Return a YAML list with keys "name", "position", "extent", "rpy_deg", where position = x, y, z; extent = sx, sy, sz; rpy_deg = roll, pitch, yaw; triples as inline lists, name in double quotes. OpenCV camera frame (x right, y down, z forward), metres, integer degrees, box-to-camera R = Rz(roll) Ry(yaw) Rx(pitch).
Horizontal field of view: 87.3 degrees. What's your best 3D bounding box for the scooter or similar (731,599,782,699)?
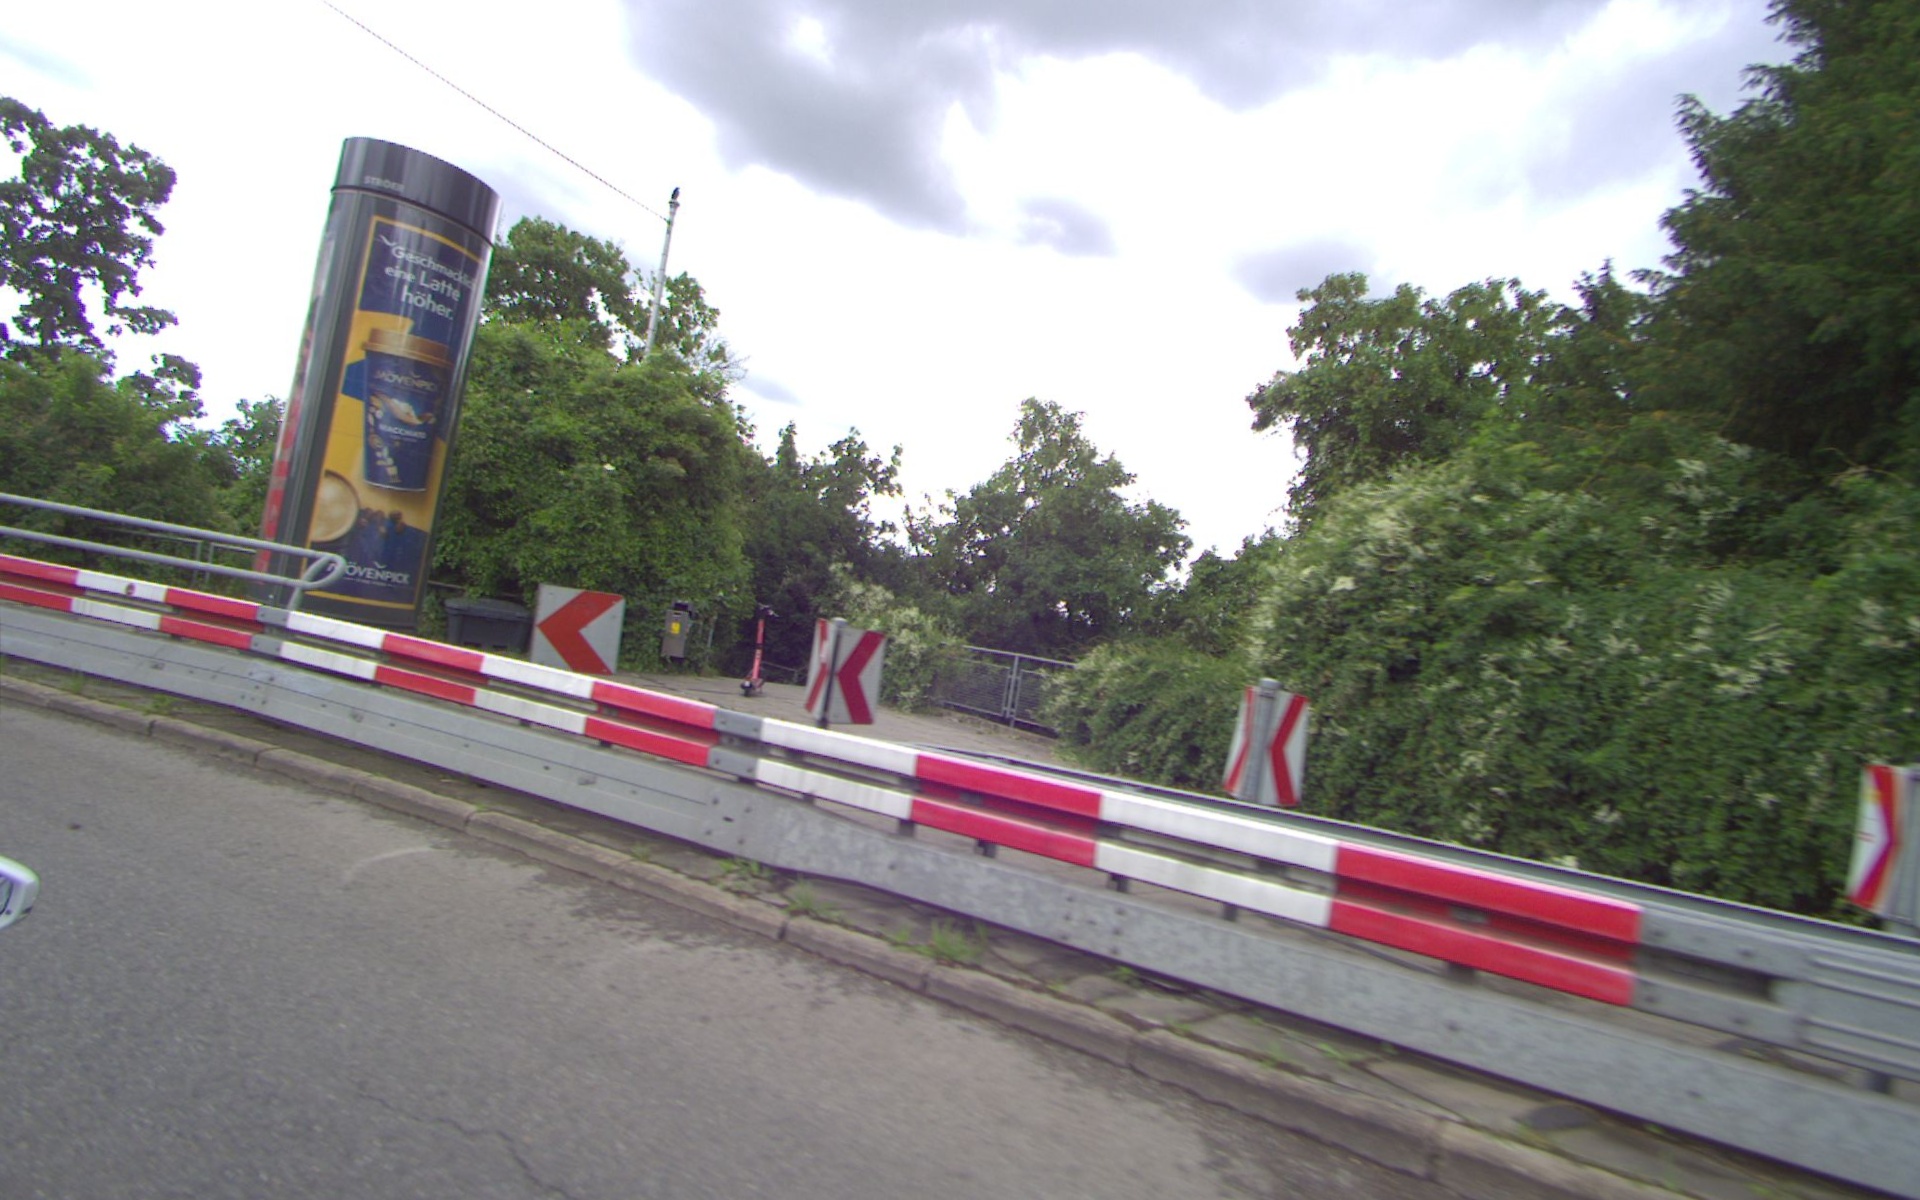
- name: "scooter or similar"
  position: [-2.809, 0.662, 13.969]
  extent: [0.429, 1.264, 1.500]
  rpy_deg: [9, -2, -8]
